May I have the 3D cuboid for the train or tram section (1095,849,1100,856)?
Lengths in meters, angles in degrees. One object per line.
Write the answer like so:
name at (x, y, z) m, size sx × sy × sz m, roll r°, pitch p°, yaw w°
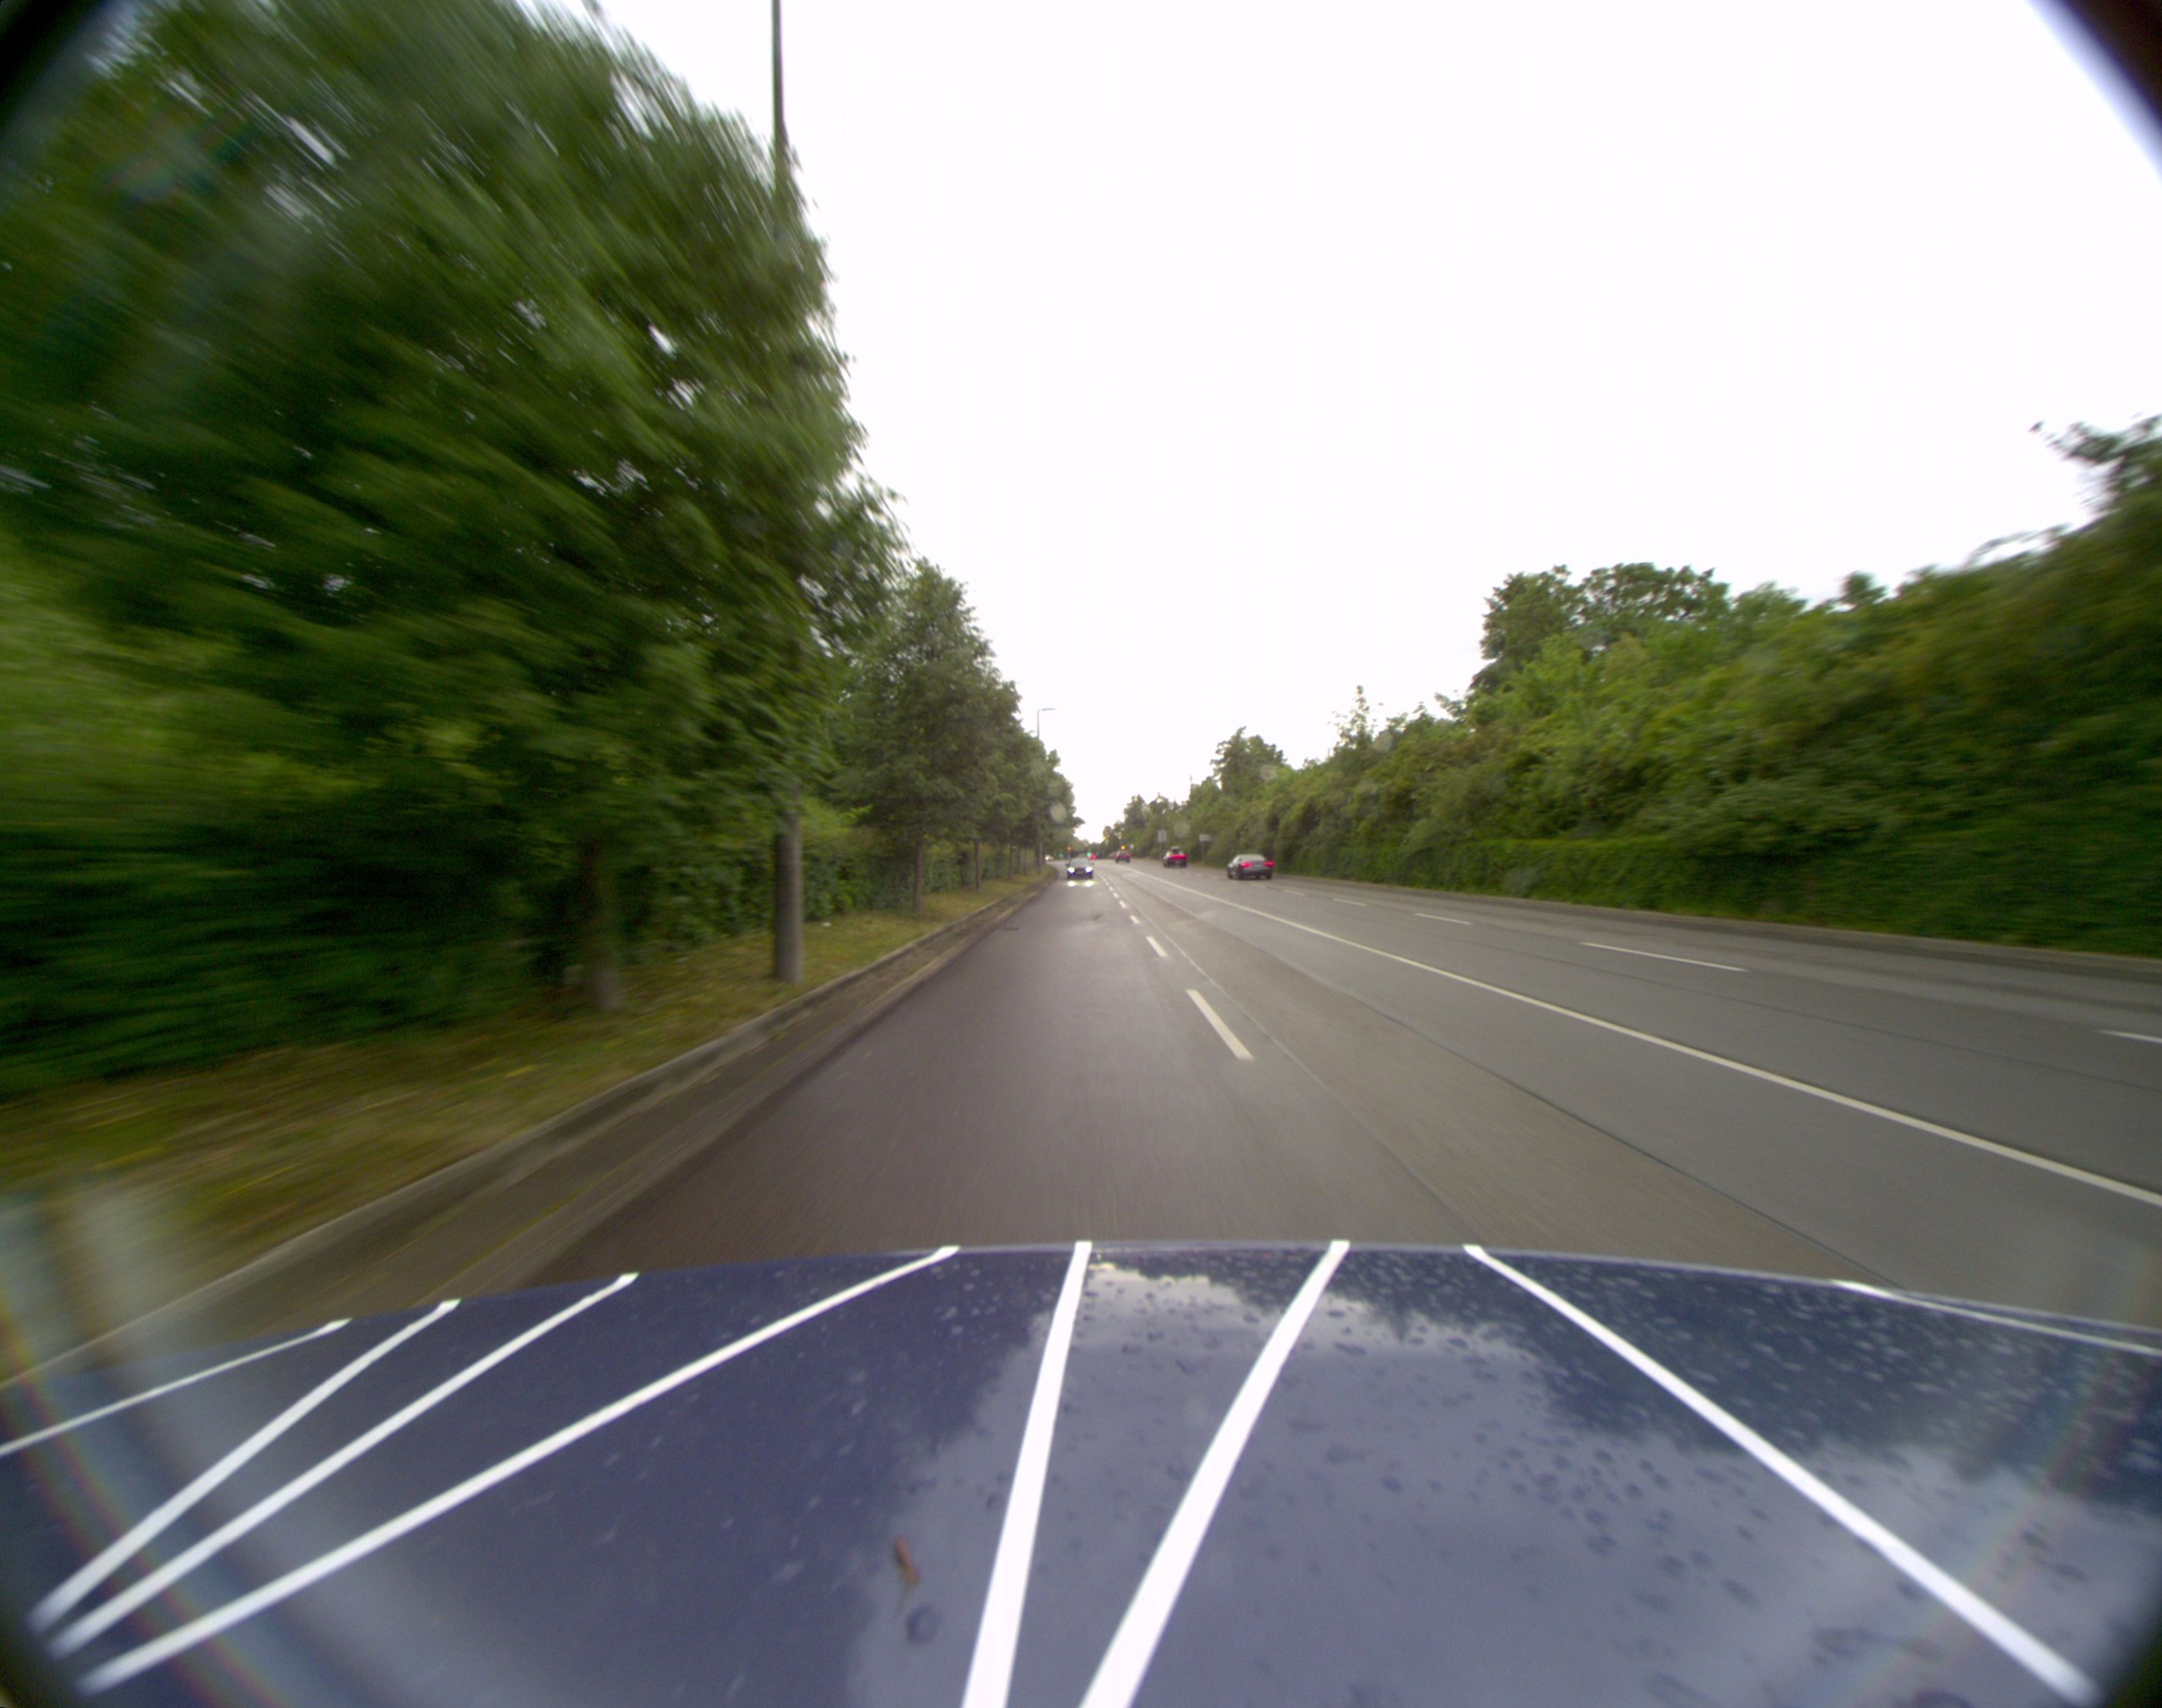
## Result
train or tram section at (3.971, -0.386, 184.014) m, size 0.793 × 1.561 × 2.383 m, roll -3°, pitch 1°, yaw -2°

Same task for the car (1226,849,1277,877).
car at (9.429, 0.488, 42.466) m, size 1.764 × 1.373 × 4.838 m, roll -3°, pitch 0°, yaw 1°

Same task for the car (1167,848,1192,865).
car at (9.842, 0.211, 76.460) m, size 1.903 × 1.544 × 4.630 m, roll -3°, pitch 1°, yaw 1°

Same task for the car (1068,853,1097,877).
car at (0.066, 0.742, 53.098) m, size 1.738 × 1.577 × 4.284 m, roll -2°, pitch 0°, yaw -2°

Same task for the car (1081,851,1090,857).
car at (1.001, 0.019, 178.781) m, size 1.782 × 1.459 × 3.996 m, roll -2°, pitch 0°, yaw -2°

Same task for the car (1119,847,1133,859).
car at (6.595, -0.125, 111.751) m, size 1.817 × 1.648 × 4.594 m, roll -2°, pitch 1°, yaw 0°

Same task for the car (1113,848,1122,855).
car at (7.820, -0.542, 162.346) m, size 1.552 × 1.429 × 3.695 m, roll -2°, pitch 1°, yaw 0°

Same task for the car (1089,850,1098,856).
car at (3.442, -0.209, 207.251) m, size 1.805 × 1.597 × 4.425 m, roll -2°, pitch 1°, yaw -6°
